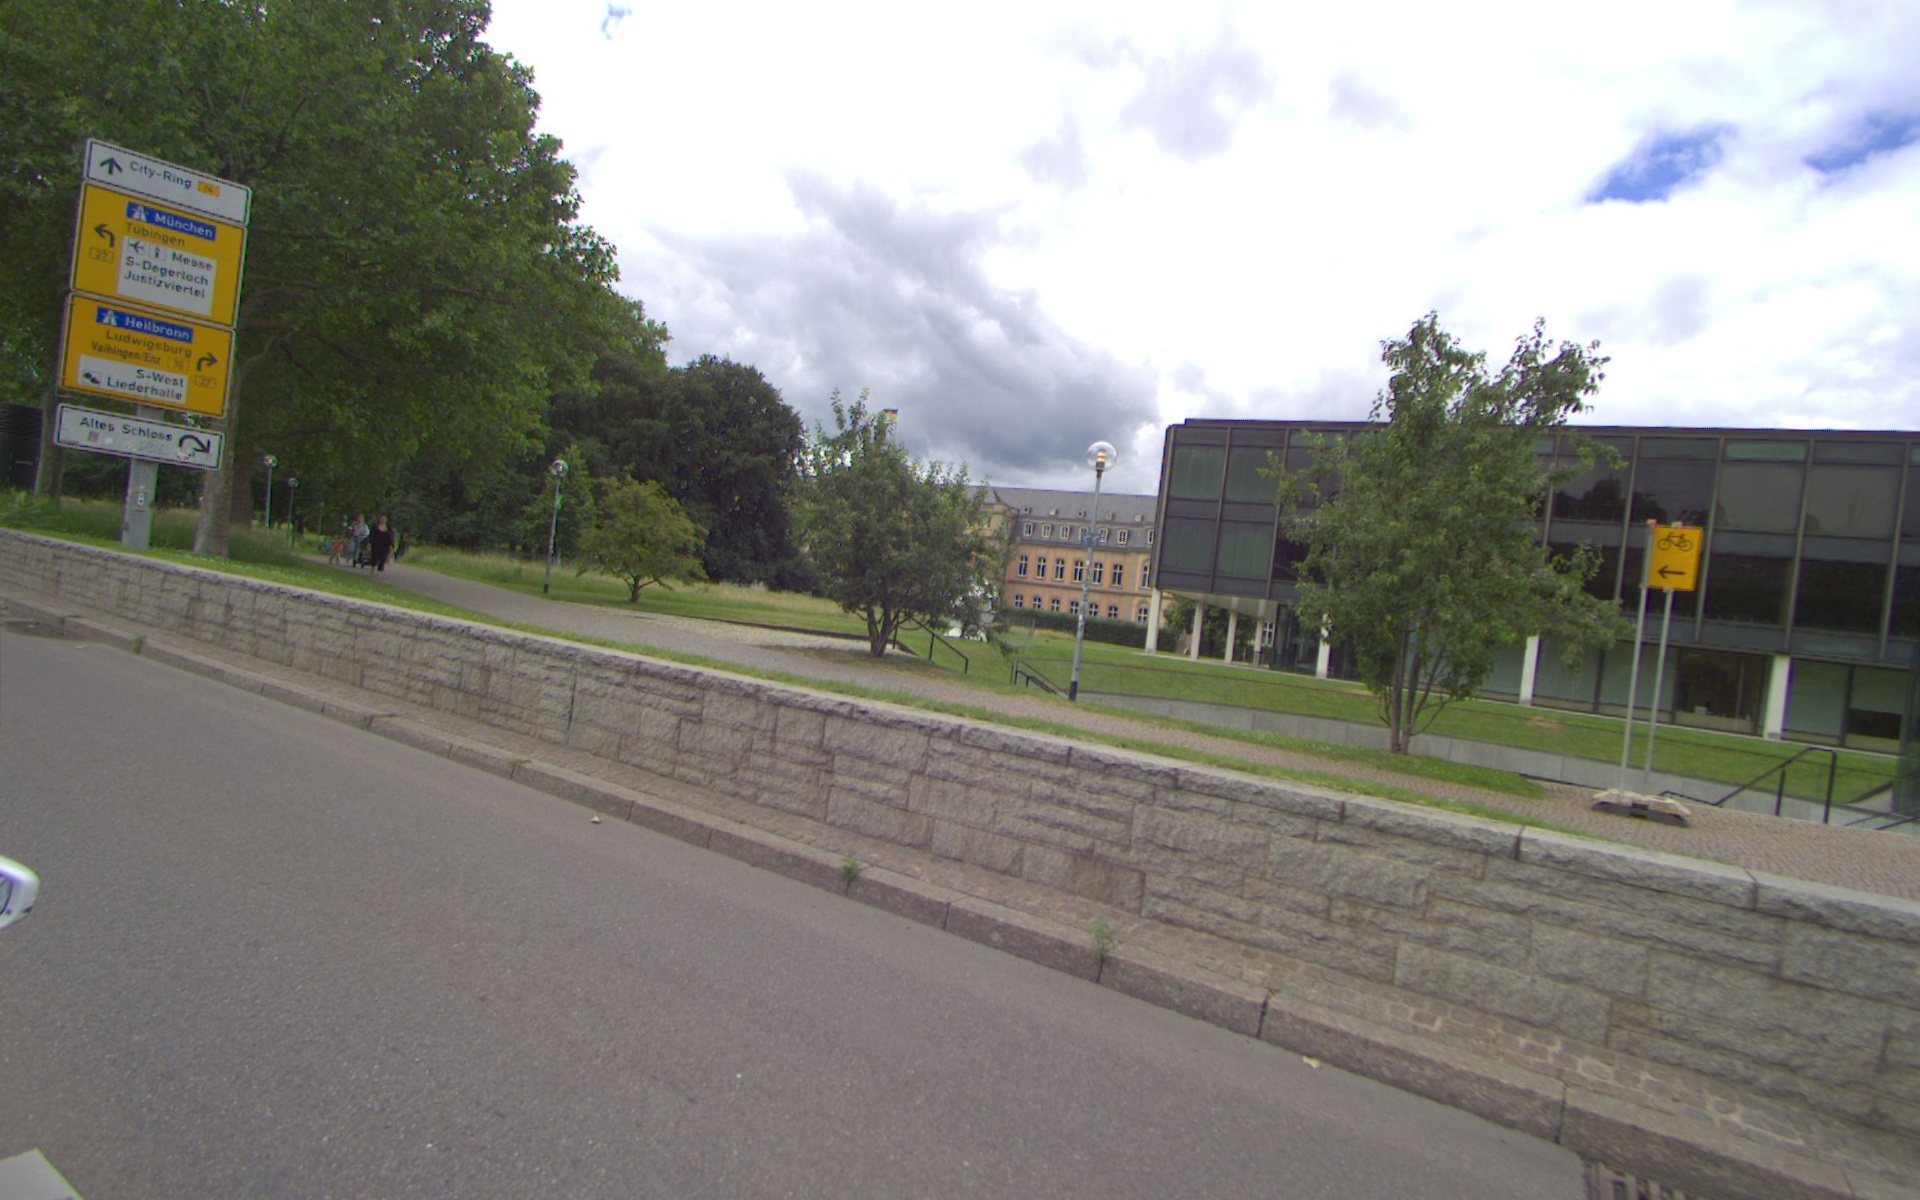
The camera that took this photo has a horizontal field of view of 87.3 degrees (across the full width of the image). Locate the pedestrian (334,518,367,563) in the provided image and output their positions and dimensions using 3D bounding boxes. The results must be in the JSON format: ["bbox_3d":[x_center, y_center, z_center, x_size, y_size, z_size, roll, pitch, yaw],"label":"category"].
[{"bbox_3d":[-19.529,-1.897,32.227,0.533,1.339,0.583,6,-3,30],"label":"pedestrian"}]

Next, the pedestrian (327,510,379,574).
[{"bbox_3d":[-19.397,-1.860,32.139,1.017,1.856,0.995,5,-3,45],"label":"pedestrian"}]

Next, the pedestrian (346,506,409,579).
[{"bbox_3d":[-15.583,-1.541,26.925,0.952,1.752,0.898,7,-2,30],"label":"pedestrian"}]

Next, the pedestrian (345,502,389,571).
[{"bbox_3d":[-18.609,-1.980,31.562,0.917,2.036,0.572,6,-2,31],"label":"pedestrian"}]
